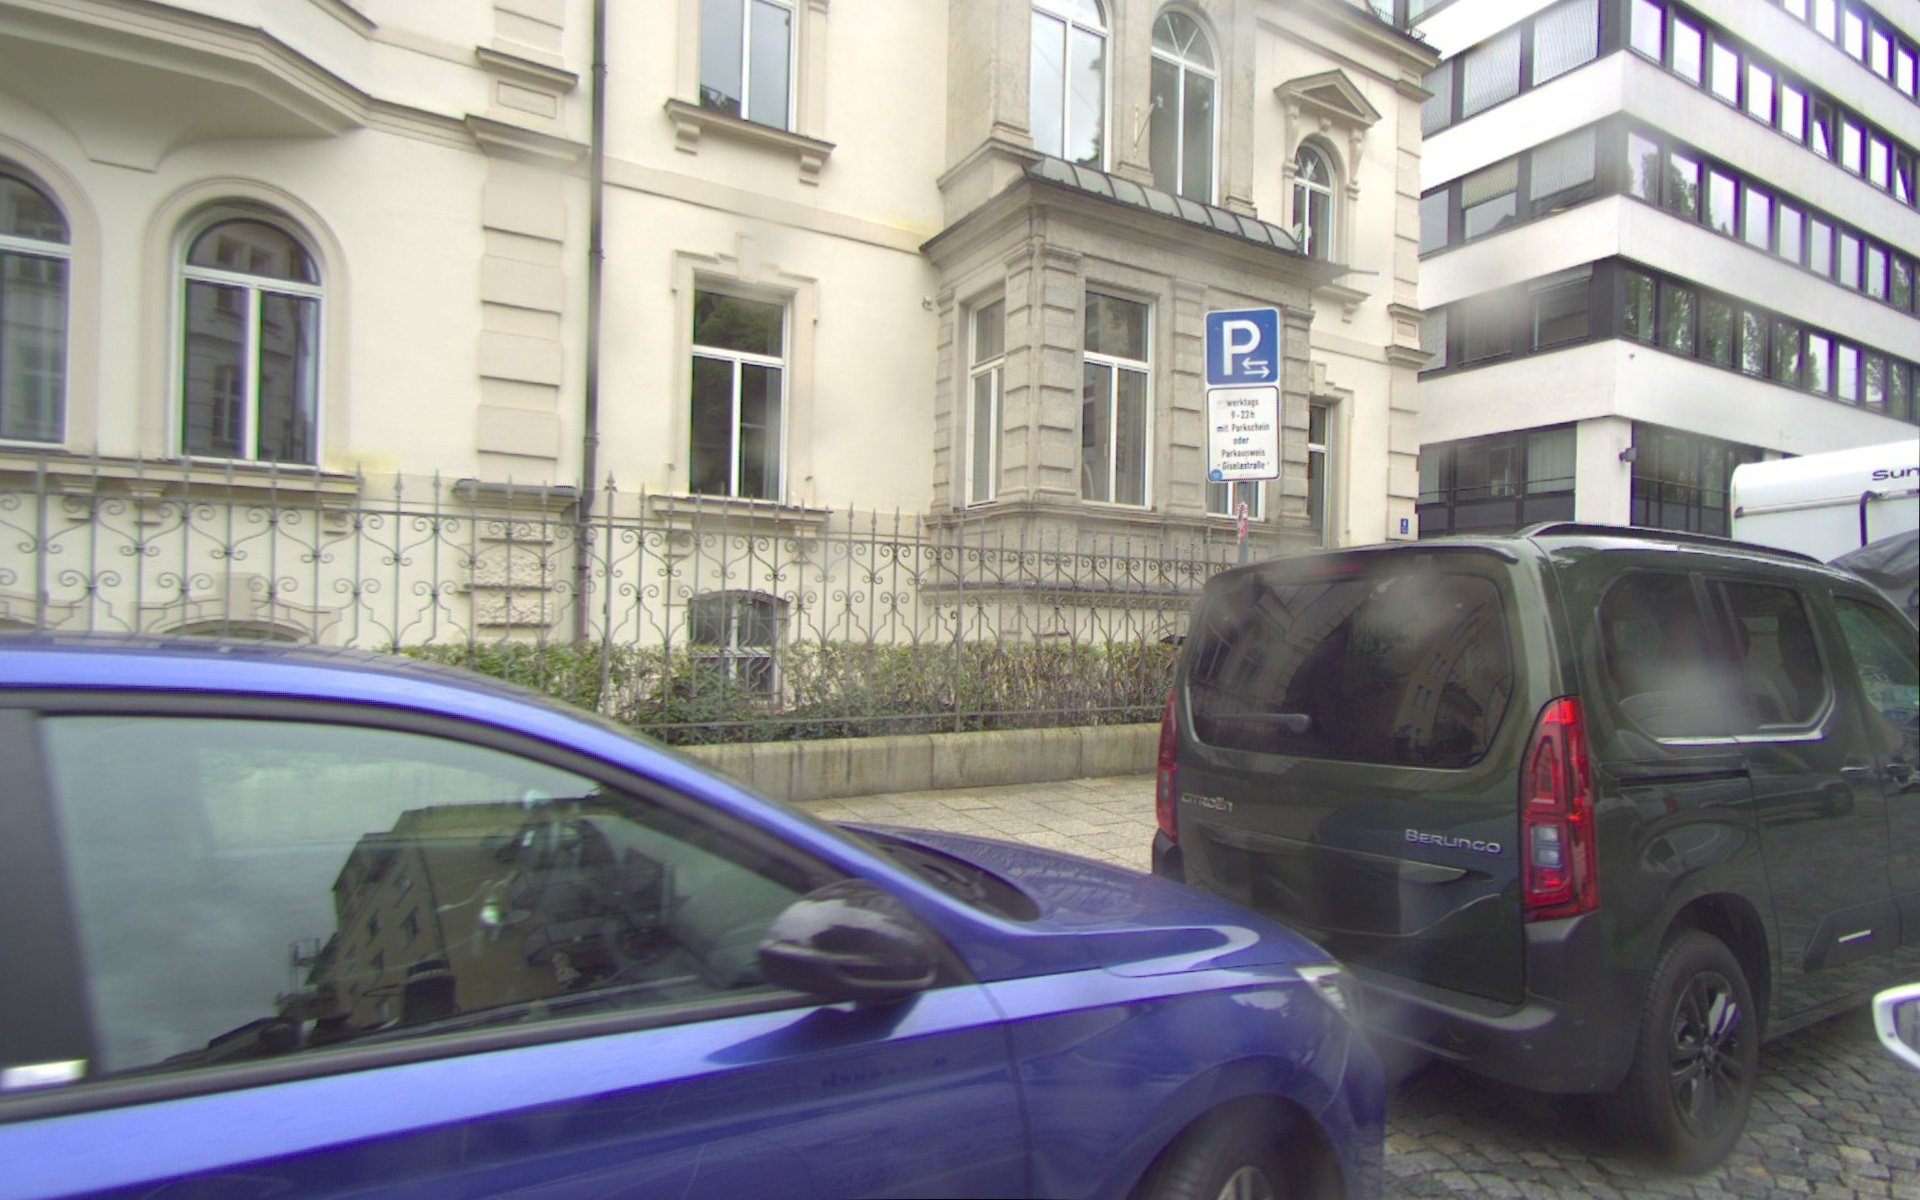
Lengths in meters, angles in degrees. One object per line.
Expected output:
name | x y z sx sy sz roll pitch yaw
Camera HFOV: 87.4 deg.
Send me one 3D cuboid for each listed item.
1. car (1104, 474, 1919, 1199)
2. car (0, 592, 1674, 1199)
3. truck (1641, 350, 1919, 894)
car | 2.792 0.651 4.219 4.122 1.774 1.884 1 -2 -32
car | -0.870 0.747 1.664 4.012 1.478 1.930 2 -1 -32
truck | 8.023 0.172 7.470 6.312 3.071 2.495 1 -2 -32
